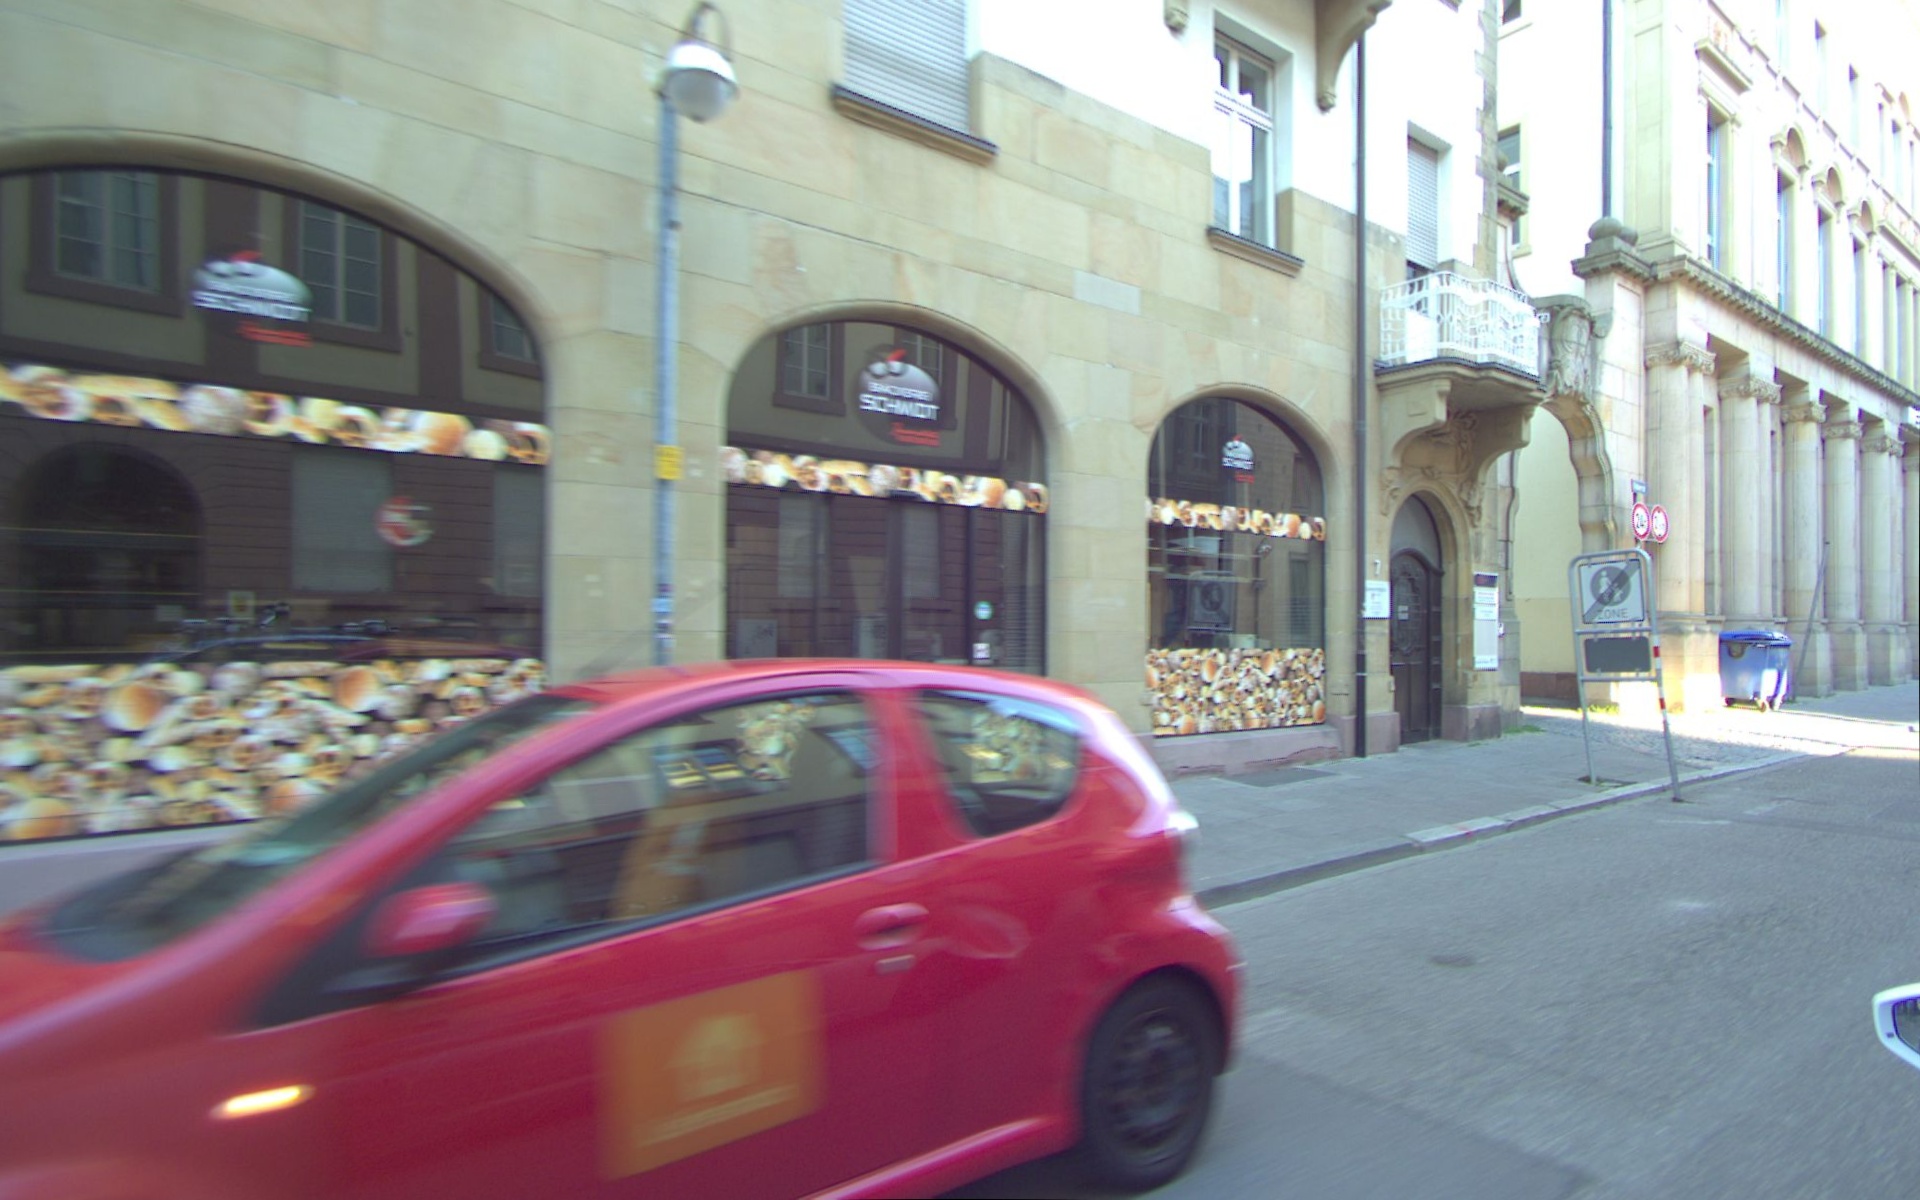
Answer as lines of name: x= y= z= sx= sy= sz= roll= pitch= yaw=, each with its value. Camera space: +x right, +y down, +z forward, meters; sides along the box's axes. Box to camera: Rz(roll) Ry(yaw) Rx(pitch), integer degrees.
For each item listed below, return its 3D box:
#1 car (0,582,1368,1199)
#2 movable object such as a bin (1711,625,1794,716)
car: x=-0.802 y=0.820 z=2.697 sx=3.893 sy=1.488 sz=1.647 roll=2 pitch=-6 yaw=-36
movable object such as a bin: x=13.822 y=1.195 z=17.511 sx=1.278 sy=1.523 sz=0.823 roll=1 pitch=-1 yaw=-36
